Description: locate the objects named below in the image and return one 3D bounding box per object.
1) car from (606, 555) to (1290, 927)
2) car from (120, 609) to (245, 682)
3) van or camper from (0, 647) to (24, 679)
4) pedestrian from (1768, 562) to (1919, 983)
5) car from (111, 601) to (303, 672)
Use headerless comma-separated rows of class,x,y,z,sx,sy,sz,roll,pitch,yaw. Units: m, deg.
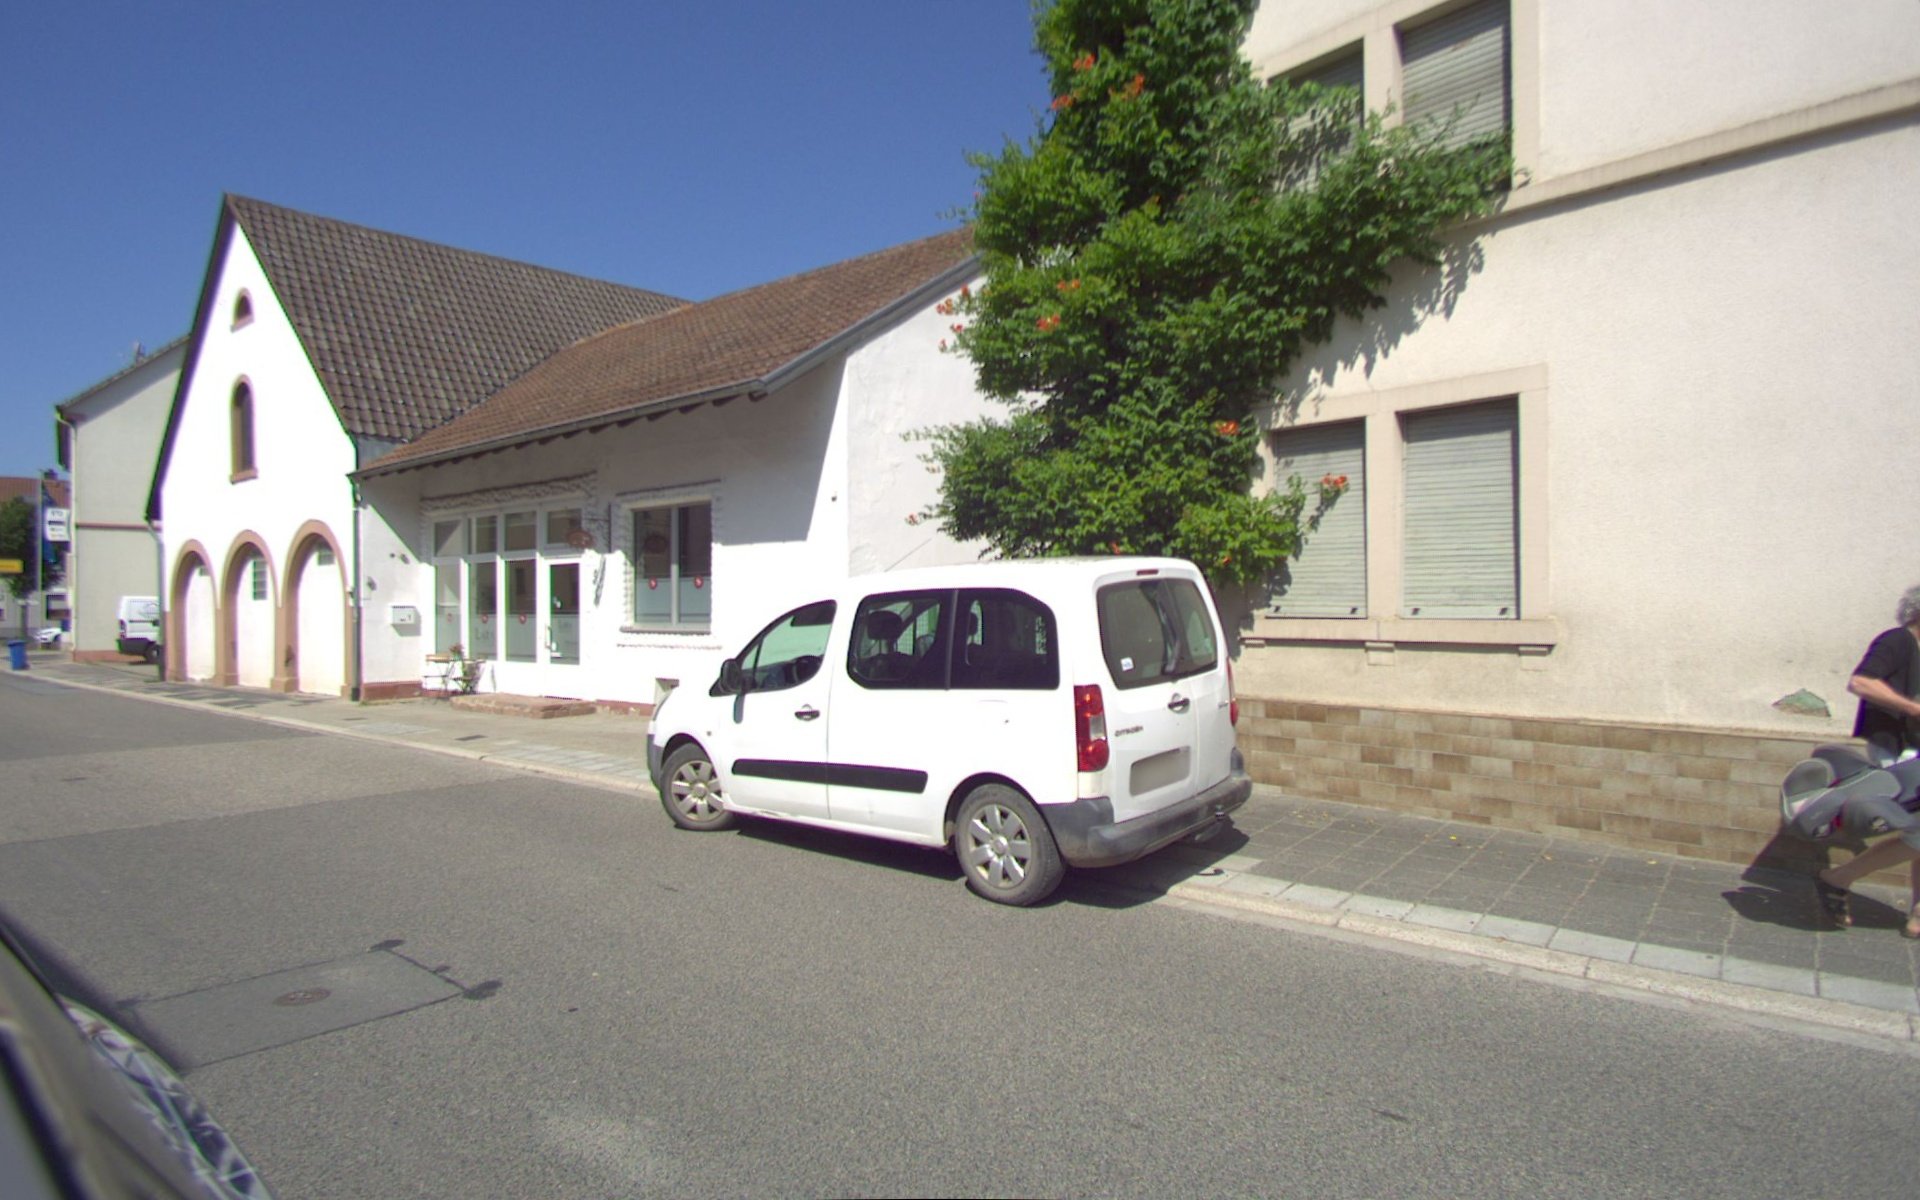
car,-0.334,0.679,6.686,4.427,1.659,1.836,-1,-2,41
car,-22.904,1.284,29.745,4.666,1.979,1.973,-1,-2,40
van or camper,-29.316,1.951,31.248,0.600,0.959,0.582,-2,-2,45
pedestrian,4.006,0.639,4.046,1.139,1.563,1.003,-2,-1,41
car,-25.493,1.173,34.360,5.112,2.213,2.125,0,-1,-41
